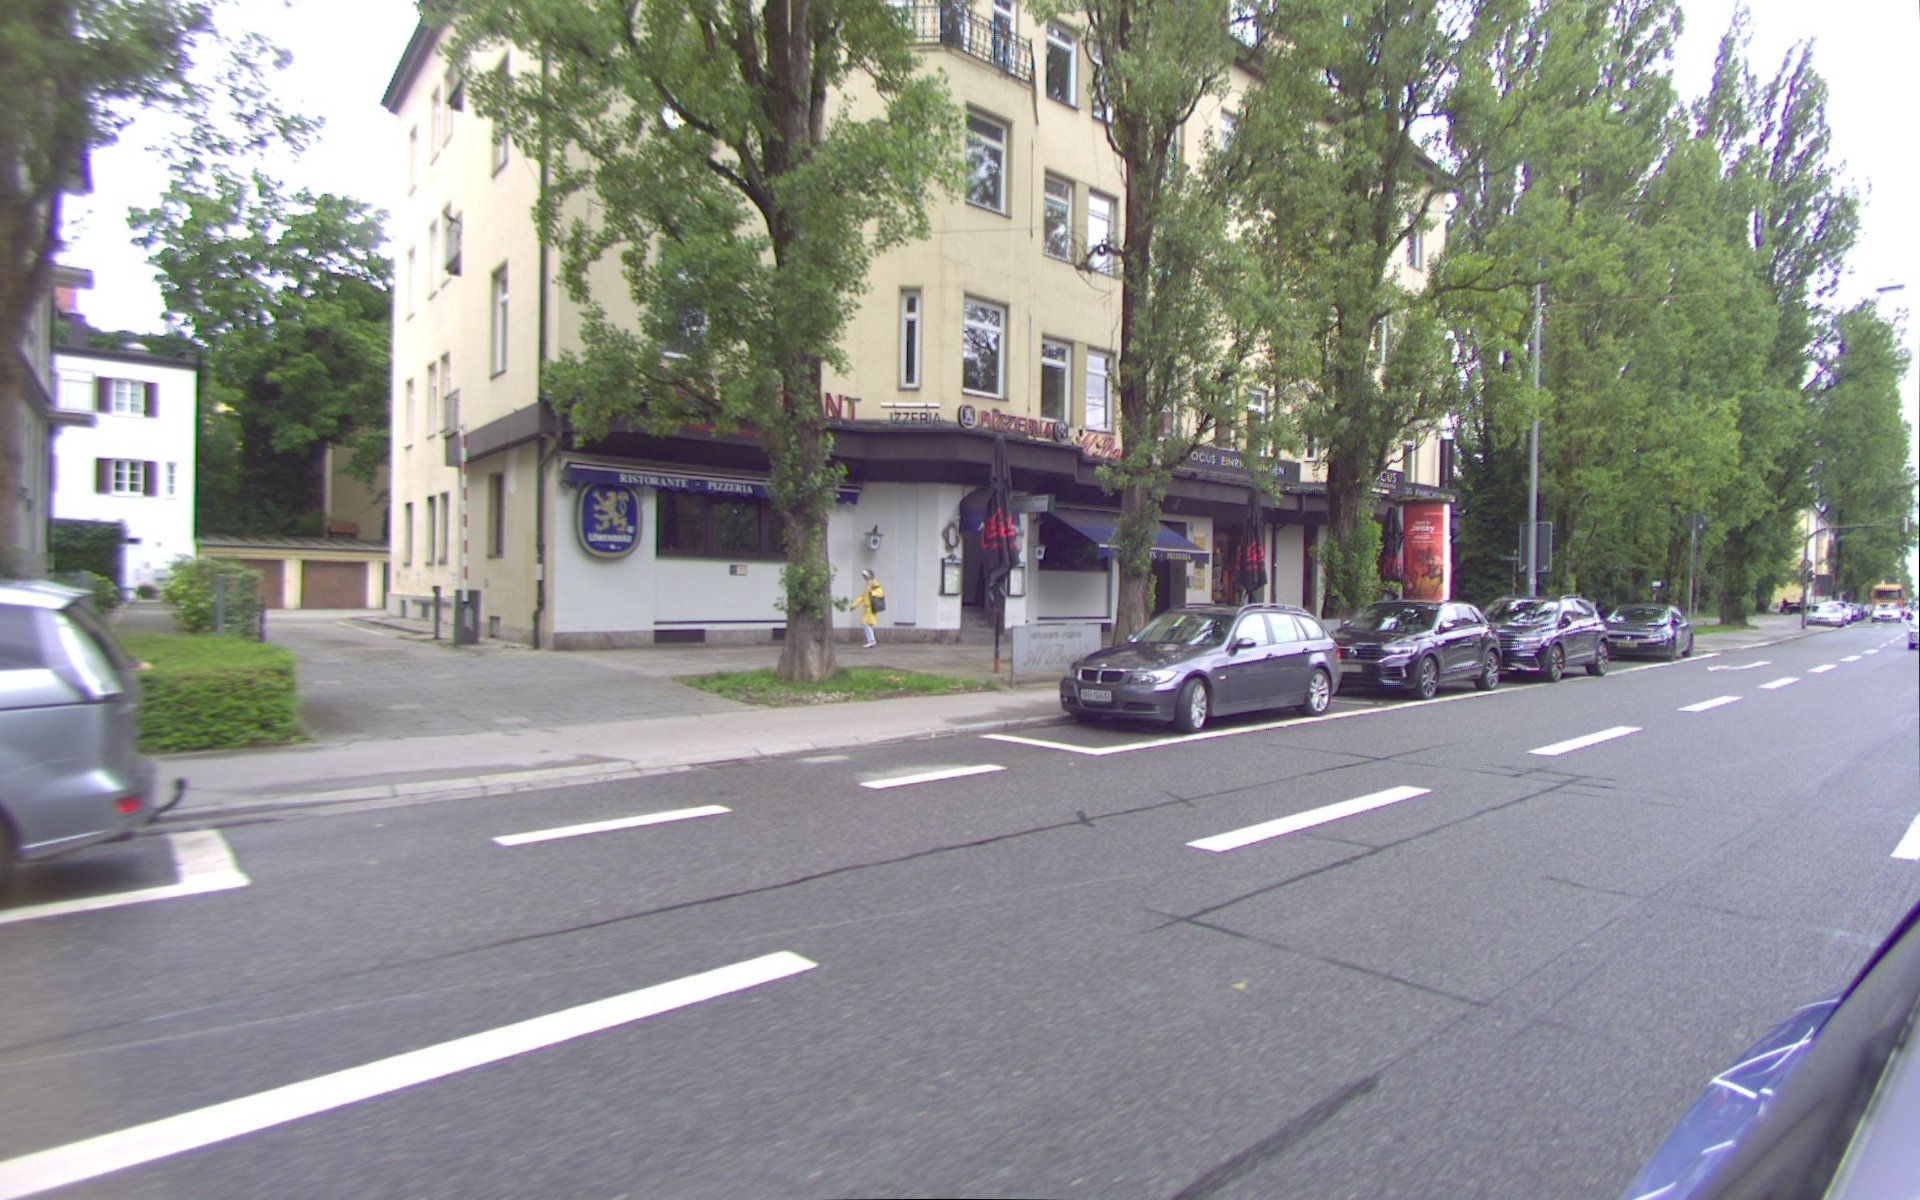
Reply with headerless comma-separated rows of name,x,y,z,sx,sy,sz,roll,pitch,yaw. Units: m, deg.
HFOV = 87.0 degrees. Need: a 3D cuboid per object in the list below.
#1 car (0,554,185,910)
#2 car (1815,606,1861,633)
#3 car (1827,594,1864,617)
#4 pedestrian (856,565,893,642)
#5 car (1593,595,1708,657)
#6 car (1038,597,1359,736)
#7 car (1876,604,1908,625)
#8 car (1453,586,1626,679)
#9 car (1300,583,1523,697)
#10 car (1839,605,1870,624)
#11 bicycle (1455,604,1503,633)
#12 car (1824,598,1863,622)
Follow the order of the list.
car,-6.147,0.585,4.257,4.469,1.632,1.802,0,1,-42
car,54.413,1.172,62.727,4.280,1.504,1.782,0,1,-44
car,61.872,0.362,70.680,1.781,1.504,4.073,1,1,44
pedestrian,-1.793,0.074,21.155,0.487,1.582,0.574,3,-2,-40
car,18.108,0.627,26.473,1.800,1.484,3.935,1,1,45
car,3.126,0.692,12.747,4.306,1.416,1.802,0,1,-42
car,73.768,1.115,80.114,1.781,1.504,4.073,1,1,44
car,11.674,0.566,20.260,4.394,1.632,1.724,0,1,-42
car,7.527,0.561,16.694,4.231,1.632,1.802,0,1,-42
car,73.924,1.182,83.625,1.781,1.504,4.073,1,1,44
bicycle,17.345,0.606,33.819,0.382,0.895,1.368,0,1,-44
car,58.721,0.659,67.225,1.781,1.504,4.191,1,1,44
